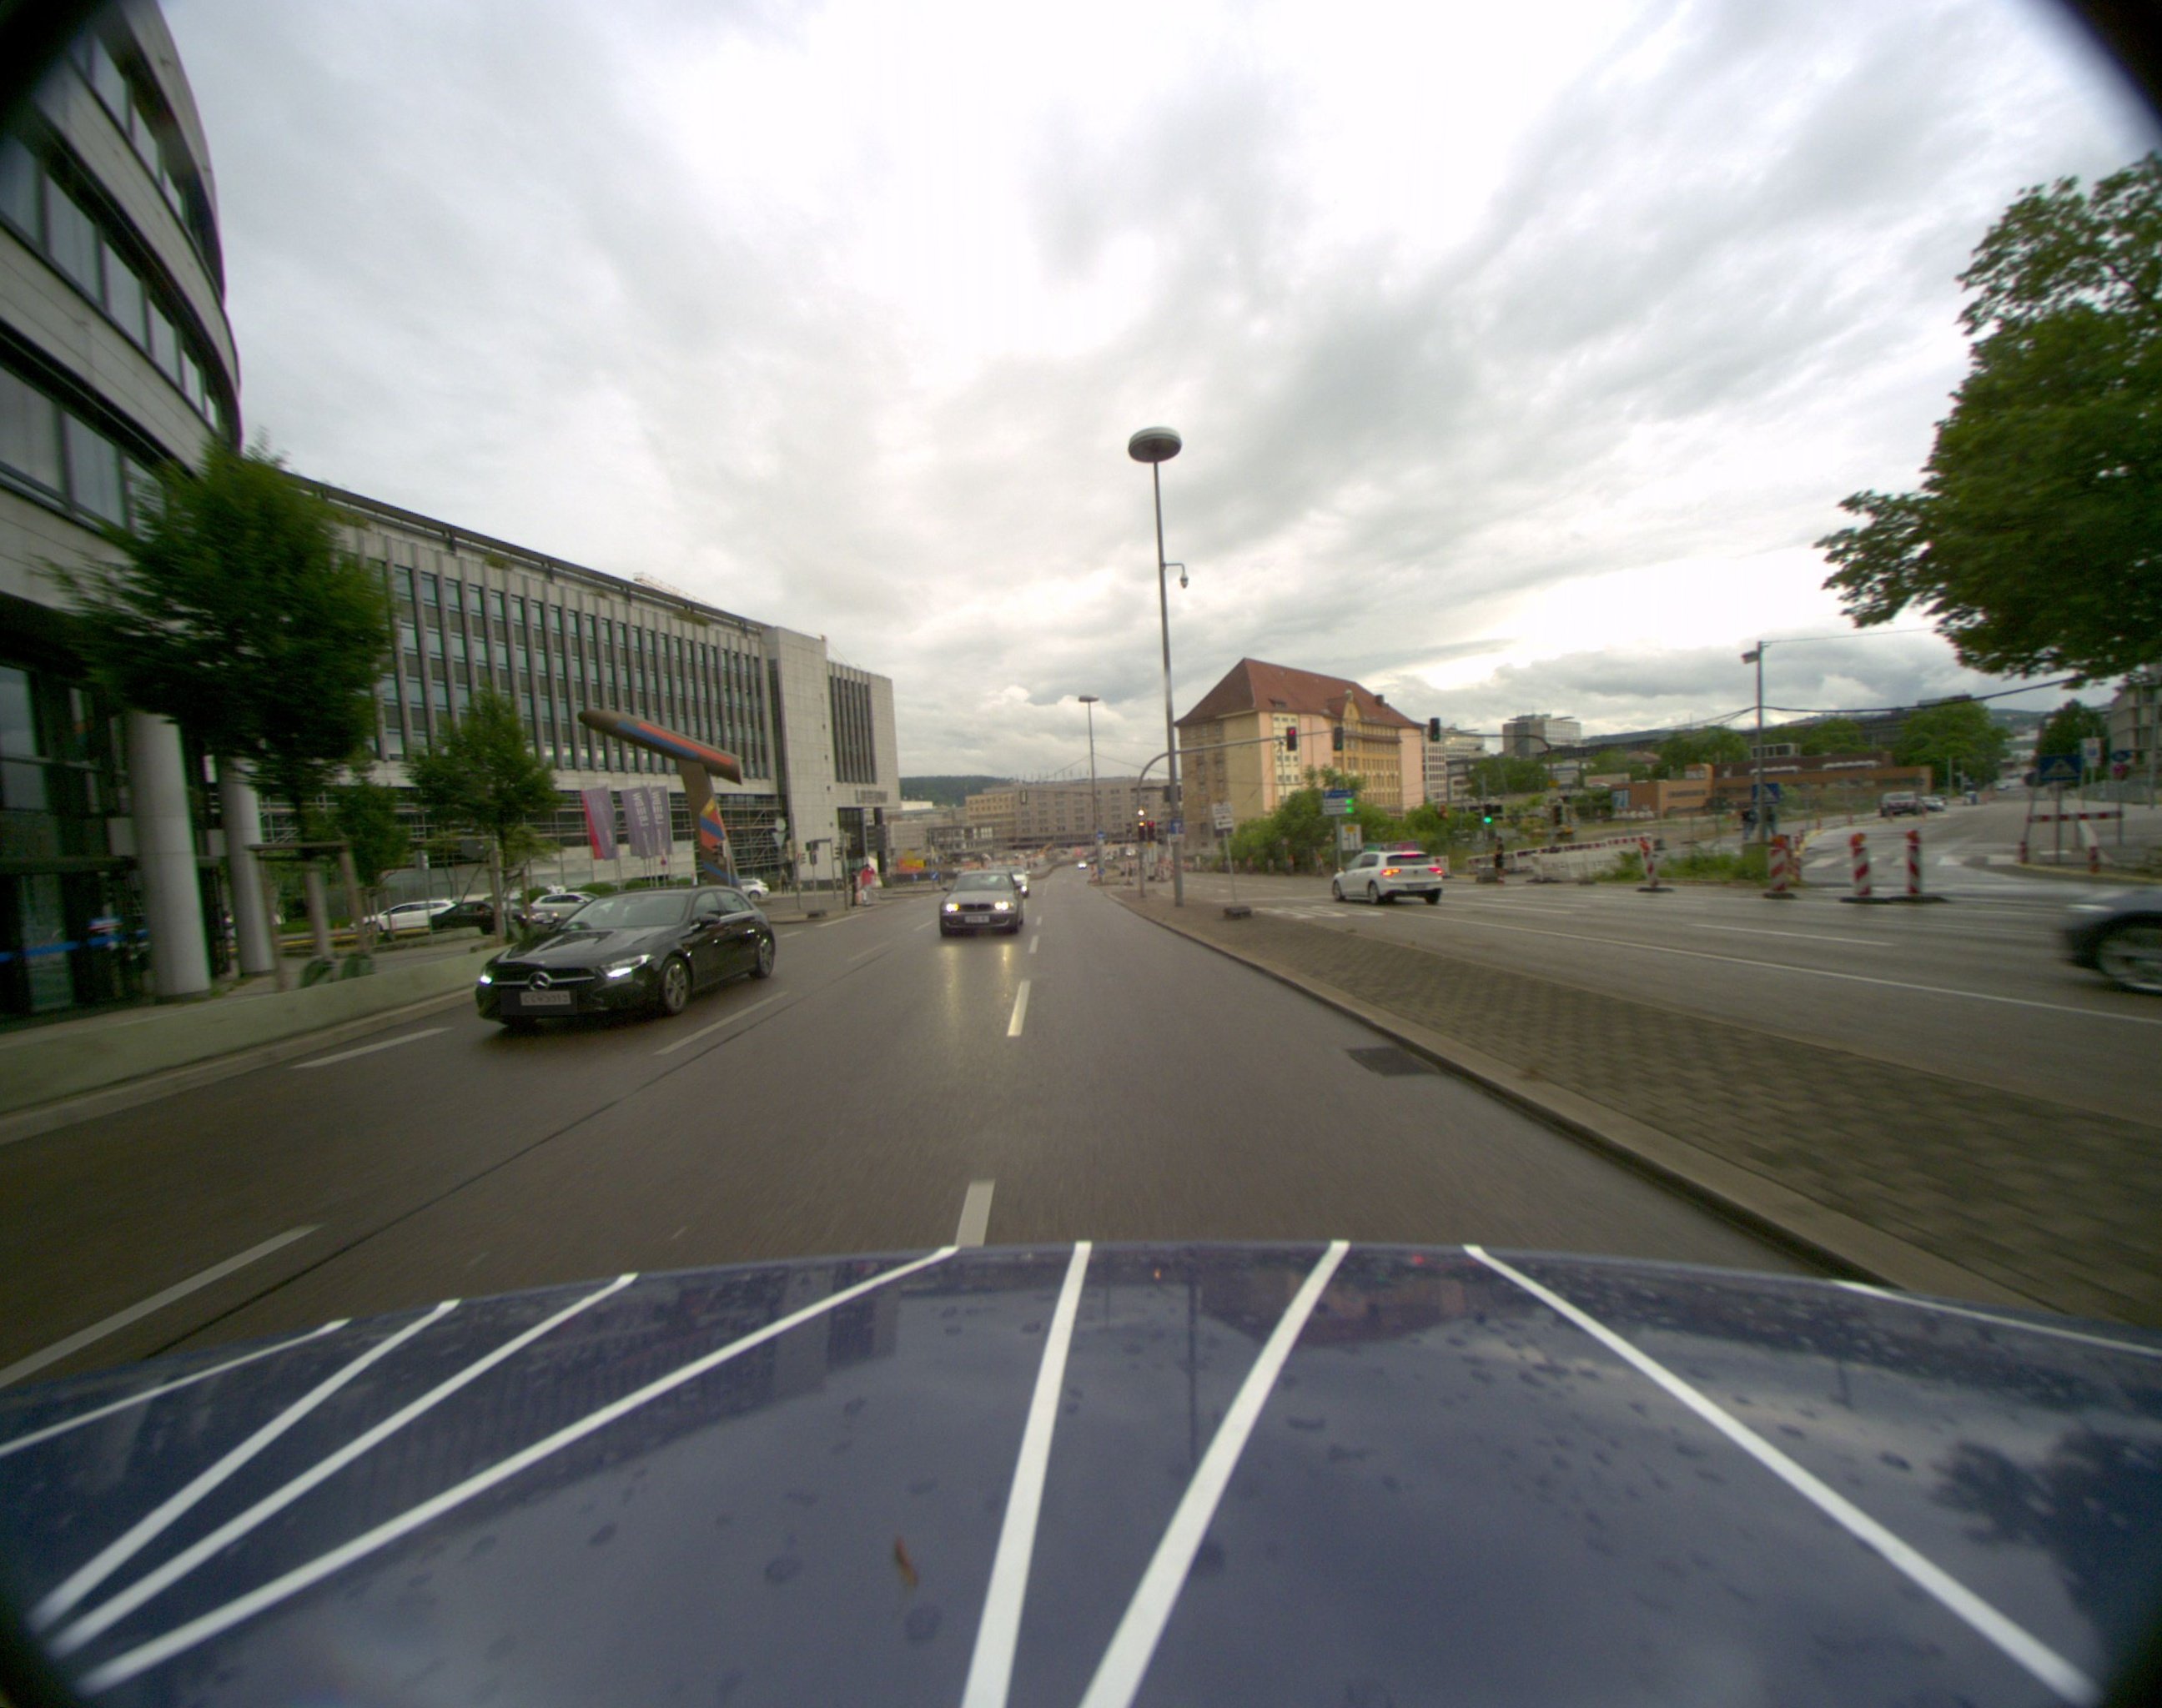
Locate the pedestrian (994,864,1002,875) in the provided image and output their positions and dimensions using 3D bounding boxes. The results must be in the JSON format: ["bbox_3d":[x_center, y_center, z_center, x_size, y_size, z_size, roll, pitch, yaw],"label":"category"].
[{"bbox_3d":[-12.536,2.288,114.896,0.732,1.566,0.806,-3,2,27],"label":"pedestrian"}]

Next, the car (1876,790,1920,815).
[{"bbox_3d":[63.308,-3.986,58.843,4.006,1.696,1.995,-5,3,-38],"label":"car"}]

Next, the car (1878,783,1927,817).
[{"bbox_3d":[52.460,-3.457,48.493,4.006,1.955,1.809,-5,3,-38],"label":"car"}]

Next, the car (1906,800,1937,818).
[{"bbox_3d":[79.113,-4.210,71.505,4.006,1.517,1.733,-5,3,-38],"label":"car"}]

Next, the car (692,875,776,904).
[{"bbox_3d":[-22.011,2.201,48.296,4.622,1.443,1.702,-4,1,-31],"label":"car"}]

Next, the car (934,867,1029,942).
[{"bbox_3d":[-2.235,1.095,18.029,1.744,1.434,3.999,-3,0,-2],"label":"car"}]

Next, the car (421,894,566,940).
[{"bbox_3d":[-23.730,2.533,30.774,4.707,1.434,1.868,-3,2,10],"label":"car"}]

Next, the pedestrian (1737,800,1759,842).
[{"bbox_3d":[35.787,-1.766,40.750,0.703,2.159,0.745,-5,3,-37],"label":"pedestrian"}]

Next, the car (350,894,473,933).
[{"bbox_3d":[-35.022,3.079,39.913,4.588,1.624,1.773,-3,0,-34],"label":"car"}]

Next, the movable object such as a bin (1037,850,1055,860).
[{"bbox_3d":[-9.304,0.270,200.237,4.135,2.521,1.995,-4,3,-36],"label":"movable object such as a bin"}]

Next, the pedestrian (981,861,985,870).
[{"bbox_3d":[-19.235,2.241,149.709,0.567,1.738,0.495,-2,2,17],"label":"pedestrian"}]

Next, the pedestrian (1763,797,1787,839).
[{"bbox_3d":[36.282,-1.863,39.737,0.744,2.128,0.745,-5,2,-37],"label":"pedestrian"}]

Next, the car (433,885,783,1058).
[{"bbox_3d":[-5.279,1.191,9.281,1.759,1.399,4.226,-1,1,-3],"label":"car"}]

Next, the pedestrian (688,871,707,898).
[{"bbox_3d":[-25.723,2.032,50.972,0.731,1.701,0.843,-3,2,-2],"label":"pedestrian"}]

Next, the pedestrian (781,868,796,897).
[{"bbox_3d":[-22.253,2.149,57.812,0.856,2.086,0.903,-5,0,-24],"label":"pedestrian"}]

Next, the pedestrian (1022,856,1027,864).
[{"bbox_3d":[-11.711,1.209,157.020,0.778,1.713,0.892,-2,2,18],"label":"pedestrian"}]

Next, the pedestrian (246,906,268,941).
[{"bbox_3d":[-43.074,3.622,39.713,0.560,1.736,0.553,-4,0,25],"label":"pedestrian"}]

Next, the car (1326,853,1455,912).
[{"bbox_3d":[8.669,0.751,21.714,1.766,1.452,4.359,-2,-1,-2],"label":"car"}]

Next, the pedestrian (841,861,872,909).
[{"bbox_3d":[-9.172,1.260,31.051,0.841,1.894,0.733,-2,3,25],"label":"pedestrian"}]

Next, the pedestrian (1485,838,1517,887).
[{"bbox_3d":[16.596,0.307,30.018,0.743,1.870,0.746,-4,2,-11],"label":"pedestrian"}]

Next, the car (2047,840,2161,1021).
[{"bbox_3d":[9.849,0.572,4.756,1.813,1.440,4.336,-2,-1,-11],"label":"car"}]

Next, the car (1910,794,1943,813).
[{"bbox_3d":[83.859,-5.035,75.369,4.290,1.696,1.884,-5,3,-38],"label":"car"}]

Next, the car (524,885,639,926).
[{"bbox_3d":[-23.450,2.416,35.779,3.998,1.434,1.865,-4,3,-3],"label":"car"}]

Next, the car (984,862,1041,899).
[{"bbox_3d":[-3.173,1.205,35.976,1.968,1.539,4.220,-3,0,4],"label":"car"}]

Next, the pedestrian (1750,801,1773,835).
[{"bbox_3d":[38.883,-2.048,43.399,0.786,1.842,0.766,-3,0,-38],"label":"pedestrian"}]

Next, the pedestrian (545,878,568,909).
[{"bbox_3d":[-31.905,2.416,46.232,0.968,1.808,0.782,-1,3,40],"label":"pedestrian"}]

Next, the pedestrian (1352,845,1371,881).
[{"bbox_3d":[15.316,0.464,41.511,0.674,1.891,0.775,-3,2,1],"label":"pedestrian"}]

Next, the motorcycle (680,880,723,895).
[{"bbox_3d":[-26.263,2.314,52.645,2.572,1.074,0.634,0,0,-9],"label":"motorcycle"}]

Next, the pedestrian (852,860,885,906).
[{"bbox_3d":[-8.975,1.223,32.124,0.841,1.894,0.862,-2,3,25],"label":"pedestrian"}]

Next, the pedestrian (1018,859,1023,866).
[{"bbox_3d":[-12.501,1.764,157.168,0.609,1.514,0.886,-2,2,18],"label":"pedestrian"}]

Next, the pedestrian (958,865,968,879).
[{"bbox_3d":[-14.723,2.291,94.886,0.730,1.642,1.062,-2,1,27],"label":"pedestrian"}]

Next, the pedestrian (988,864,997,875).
[{"bbox_3d":[-13.399,2.331,115.000,0.861,1.584,0.954,-2,2,26],"label":"pedestrian"}]

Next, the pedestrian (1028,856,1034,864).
[{"bbox_3d":[-11.195,1.308,169.072,0.818,1.839,0.933,-1,3,35],"label":"pedestrian"}]

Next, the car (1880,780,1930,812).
[{"bbox_3d":[56.811,-3.998,52.365,4.006,2.002,1.995,-5,3,-38],"label":"car"}]

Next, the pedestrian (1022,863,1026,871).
[{"bbox_3d":[-10.870,2.482,145.461,0.648,1.623,0.907,-3,2,-1],"label":"pedestrian"}]
